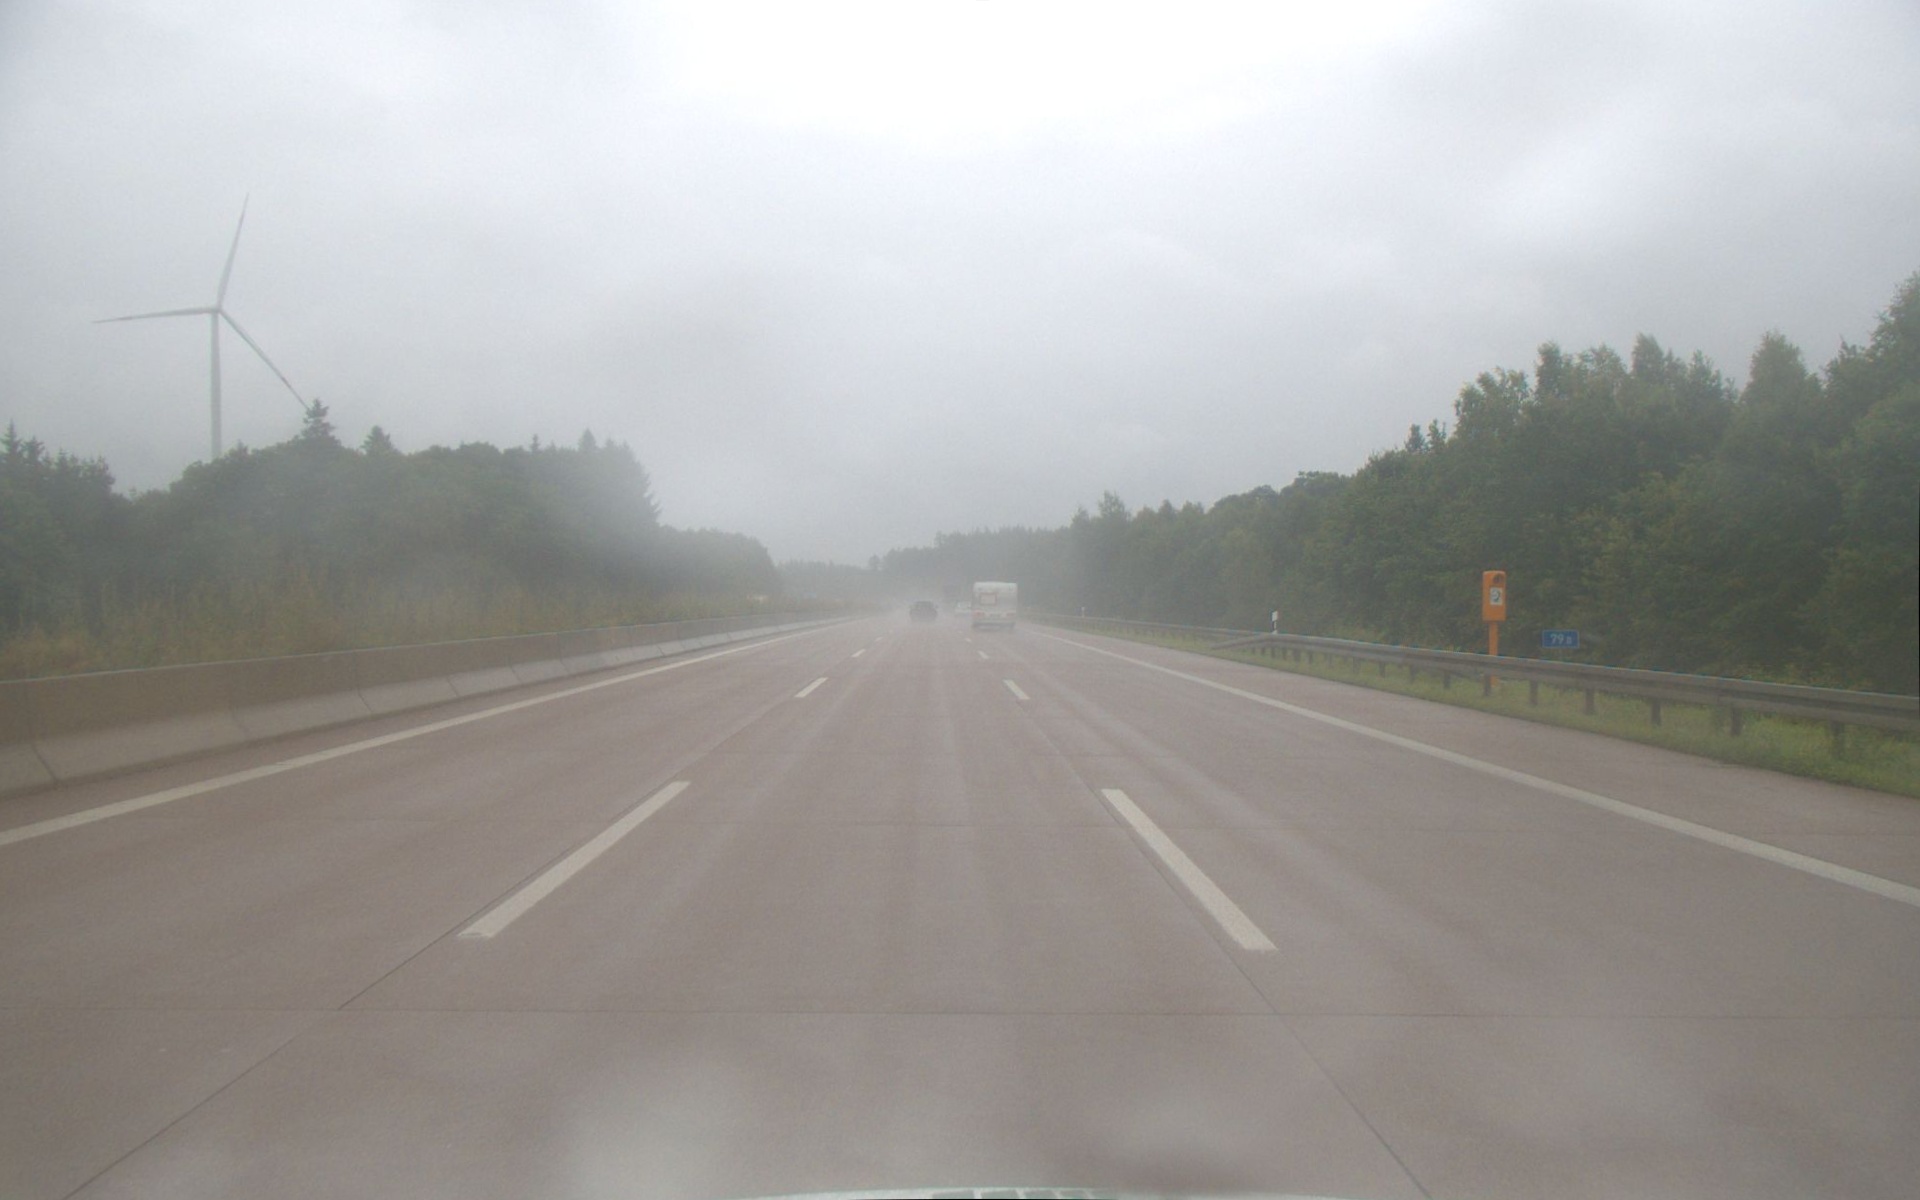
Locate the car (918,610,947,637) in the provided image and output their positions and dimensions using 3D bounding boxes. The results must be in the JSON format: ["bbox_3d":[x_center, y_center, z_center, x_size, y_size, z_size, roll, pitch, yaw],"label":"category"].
[{"bbox_3d":[-1.887,1.589,113.948,1.897,1.760,4.130,1,0,0],"label":"car"}]

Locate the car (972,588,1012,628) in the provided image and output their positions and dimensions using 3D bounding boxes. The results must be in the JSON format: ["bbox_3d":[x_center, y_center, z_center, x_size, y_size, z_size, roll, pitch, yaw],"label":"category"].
[{"bbox_3d":[1.643,0.390,87.304,2.016,2.035,4.098,1,0,0],"label":"car"}]
